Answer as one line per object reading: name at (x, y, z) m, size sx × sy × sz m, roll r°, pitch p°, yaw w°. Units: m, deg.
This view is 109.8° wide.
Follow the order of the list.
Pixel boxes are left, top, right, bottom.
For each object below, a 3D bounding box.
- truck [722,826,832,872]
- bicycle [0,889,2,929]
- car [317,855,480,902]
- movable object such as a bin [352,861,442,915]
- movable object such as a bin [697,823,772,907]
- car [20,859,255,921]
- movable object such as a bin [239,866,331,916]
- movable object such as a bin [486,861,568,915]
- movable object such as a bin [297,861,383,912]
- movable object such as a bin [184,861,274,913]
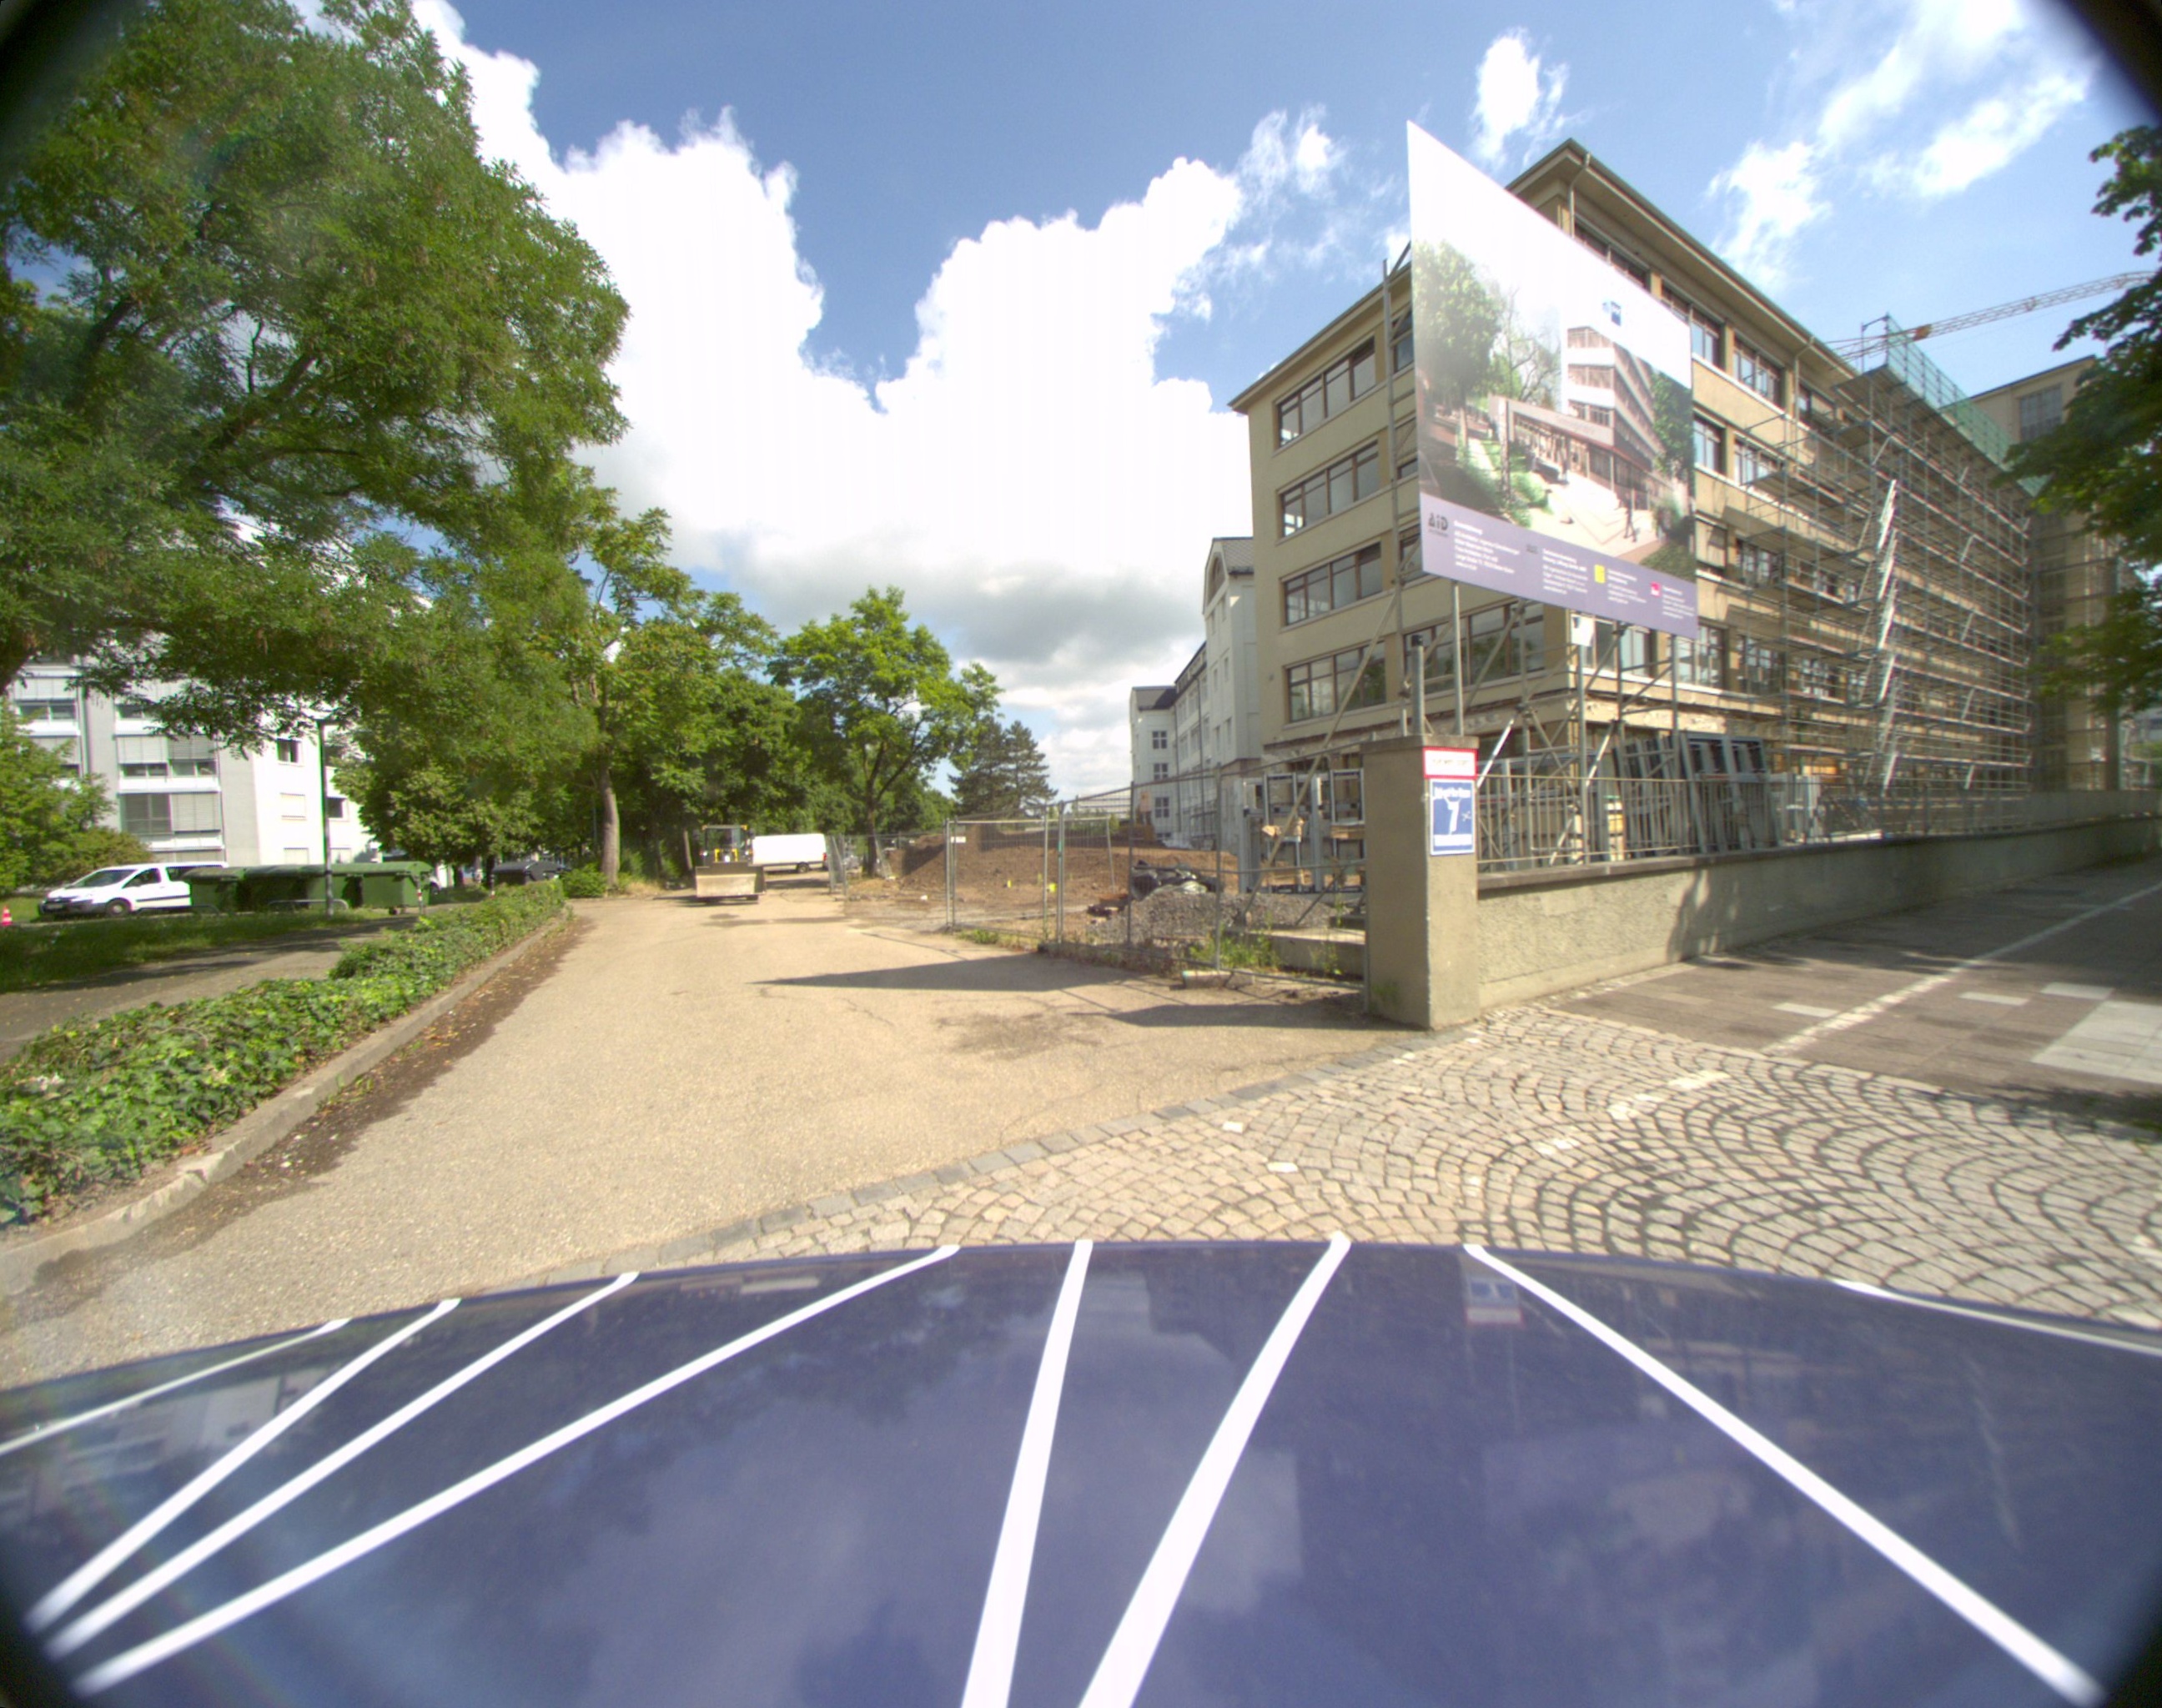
truck at (-20.280, -0.375, 51.055) m, size 6.562 × 2.763 × 1.996 m, roll -2°, pitch 4°, yaw -17°
bicycle at (-27.096, 1.358, 18.309) m, size 1.458 × 0.981 × 0.427 m, roll -1°, pitch 0°, yaw -4°
car at (-25.820, 0.868, 29.047) m, size 1.809 × 1.488 × 5.089 m, roll -2°, pitch 1°, yaw -4°
movable object such as a bin at (-18.433, 0.887, 20.509) m, size 1.366 × 1.345 × 1.093 m, roll -1°, pitch 2°, yaw -6°
movable object such as a bin at (-11.306, 0.257, 24.839) m, size 2.003 × 2.430 × 5.420 m, roll 0°, pitch 1°, yaw -25°
car at (-34.056, 1.226, 27.736) m, size 2.037 × 1.852 × 5.092 m, roll -2°, pitch 1°, yaw 2°
movable object such as a bin at (-21.221, 0.969, 20.283) m, size 1.273 × 1.213 × 1.028 m, roll -1°, pitch 2°, yaw -6°
movable object such as a bin at (-14.757, 0.892, 20.261) m, size 1.321 × 1.349 × 1.131 m, roll 0°, pitch 2°, yaw 16°
movable object such as a bin at (-19.841, 0.856, 20.383) m, size 1.256 × 1.258 × 0.999 m, roll -1°, pitch 2°, yaw -6°
movable object such as a bin at (-22.664, 0.862, 20.241) m, size 1.191 × 1.286 × 1.002 m, roll -1°, pitch 2°, yaw -6°
